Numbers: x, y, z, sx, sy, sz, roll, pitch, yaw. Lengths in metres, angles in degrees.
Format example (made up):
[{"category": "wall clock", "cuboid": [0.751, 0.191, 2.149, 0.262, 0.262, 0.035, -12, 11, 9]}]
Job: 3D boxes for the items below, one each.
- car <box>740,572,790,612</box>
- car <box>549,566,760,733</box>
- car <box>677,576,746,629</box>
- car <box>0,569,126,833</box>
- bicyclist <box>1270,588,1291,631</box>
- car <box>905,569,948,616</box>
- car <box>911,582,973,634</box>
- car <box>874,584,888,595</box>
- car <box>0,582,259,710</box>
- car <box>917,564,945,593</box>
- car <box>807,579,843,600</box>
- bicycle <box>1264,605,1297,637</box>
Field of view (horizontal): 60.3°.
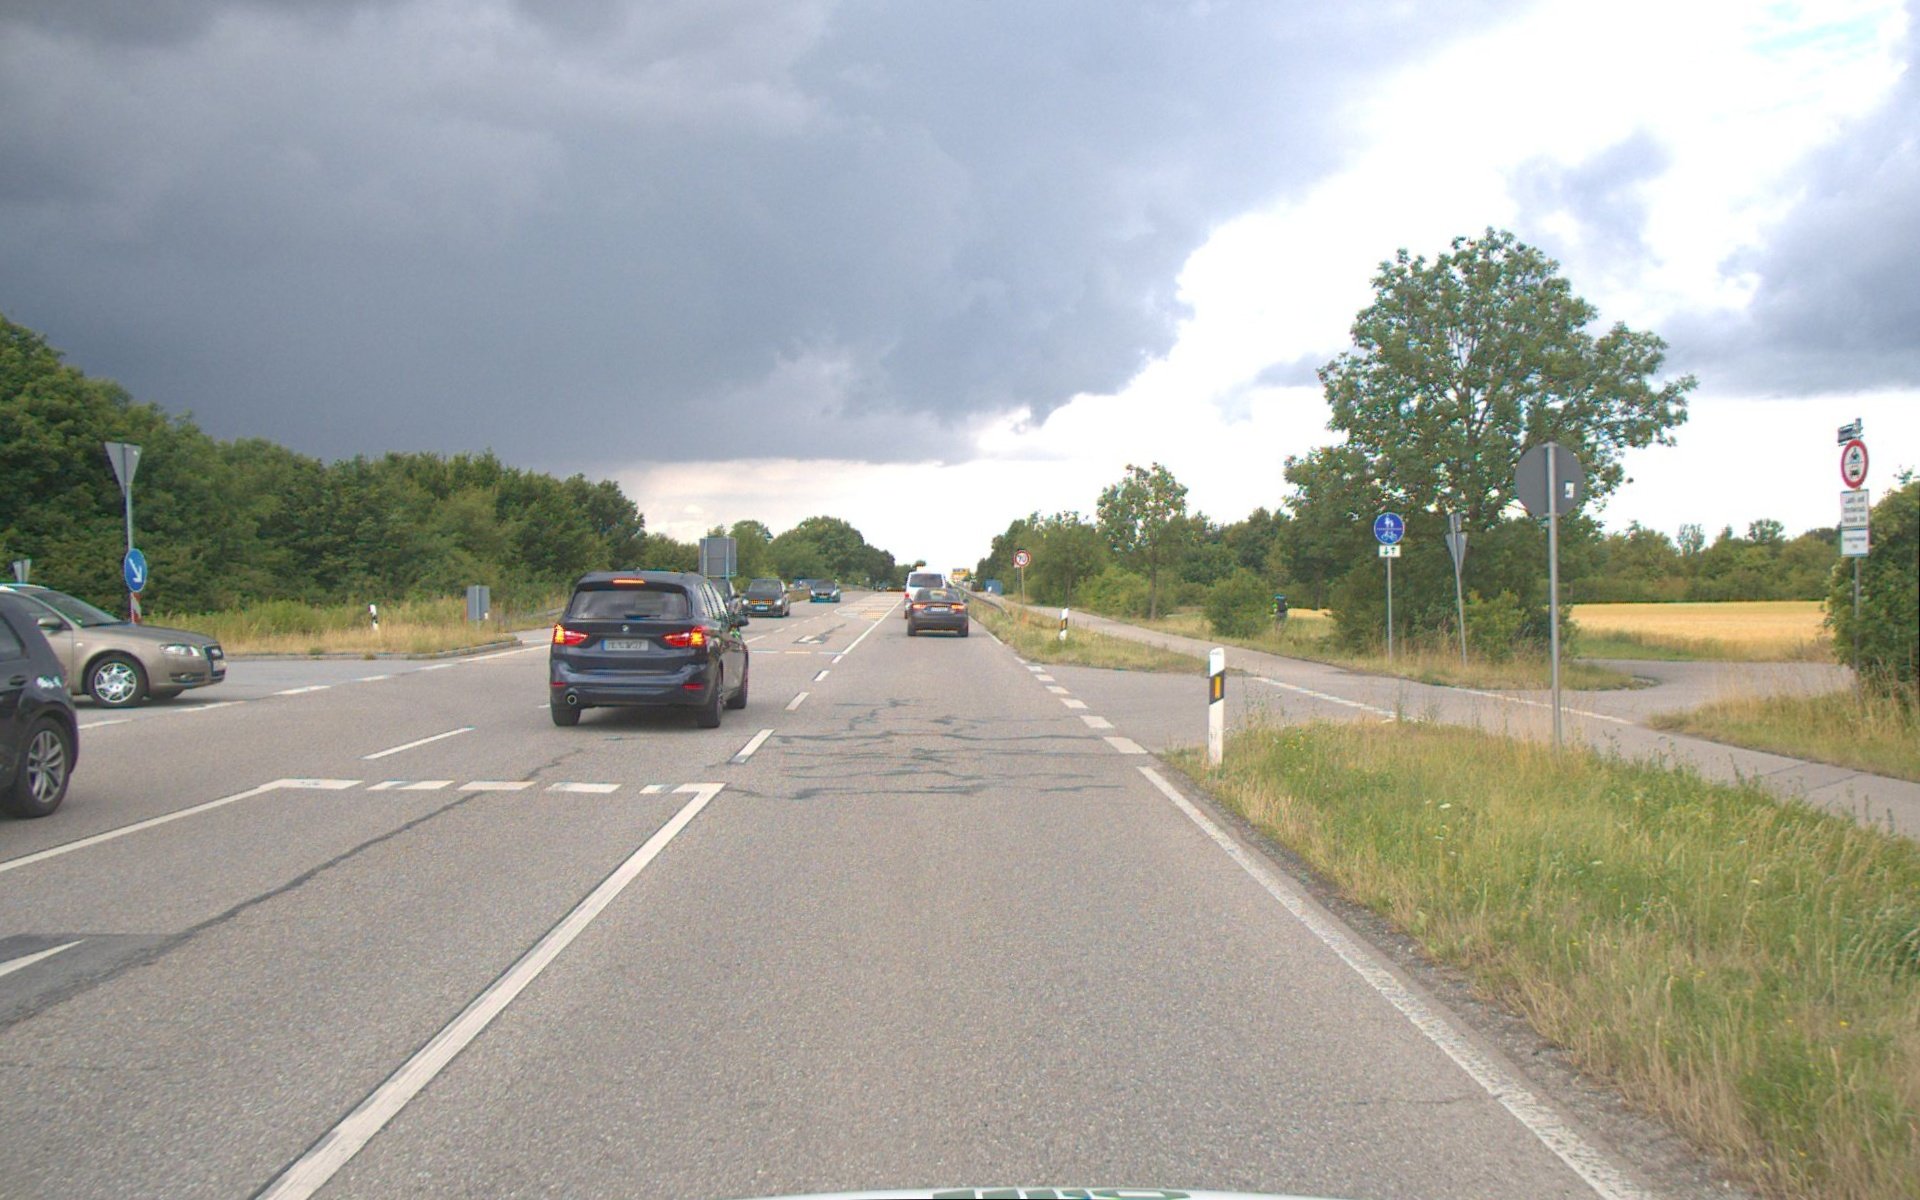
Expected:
[{"category": "car", "cuboid": [-8.132, -0.357, 69.290, 1.707, 1.557, 4.198, 1, 1, -2]}, {"category": "car", "cuboid": [-3.336, 0.481, 18.849, 1.668, 1.639, 4.481, 1, 0, -2]}, {"category": "car", "cuboid": [-7.290, 0.059, 48.683, 1.628, 1.509, 3.167, 1, 0, -2]}, {"category": "car", "cuboid": [-6.424, 0.580, 8.932, 1.645, 1.548, 4.395, 1, 0, -1]}, {"category": "bicyclist", "cuboid": [12.142, 0.344, 62.655, 0.642, 1.608, 0.743, 1, -1, -2]}, {"category": "car", "cuboid": [-1.449, -0.325, 70.614, 1.749, 1.922, 3.999, 1, 0, -1]}, {"category": "car", "cuboid": [-0.551, 0.222, 49.320, 1.749, 1.448, 3.999, 1, 0, -1]}, {"category": "car", "cuboid": [-11.583, -1.519, 242.703, 1.825, 1.400, 3.999, 2, 0, -1]}, {"category": "car", "cuboid": [-11.044, 0.537, 19.980, 4.368, 1.449, 1.907, -1, 0, -9]}, {"category": "car", "cuboid": [-2.546, -1.939, 147.198, 2.397, 2.548, 5.041, 1, 1, -1]}, {"category": "car", "cuboid": [-8.934, -0.703, 109.498, 2.121, 1.307, 4.236, 2, 1, -2]}, {"category": "bicycle", "cuboid": [12.141, 0.777, 62.724, 0.642, 1.158, 2.829, 1, 0, -2]}]
